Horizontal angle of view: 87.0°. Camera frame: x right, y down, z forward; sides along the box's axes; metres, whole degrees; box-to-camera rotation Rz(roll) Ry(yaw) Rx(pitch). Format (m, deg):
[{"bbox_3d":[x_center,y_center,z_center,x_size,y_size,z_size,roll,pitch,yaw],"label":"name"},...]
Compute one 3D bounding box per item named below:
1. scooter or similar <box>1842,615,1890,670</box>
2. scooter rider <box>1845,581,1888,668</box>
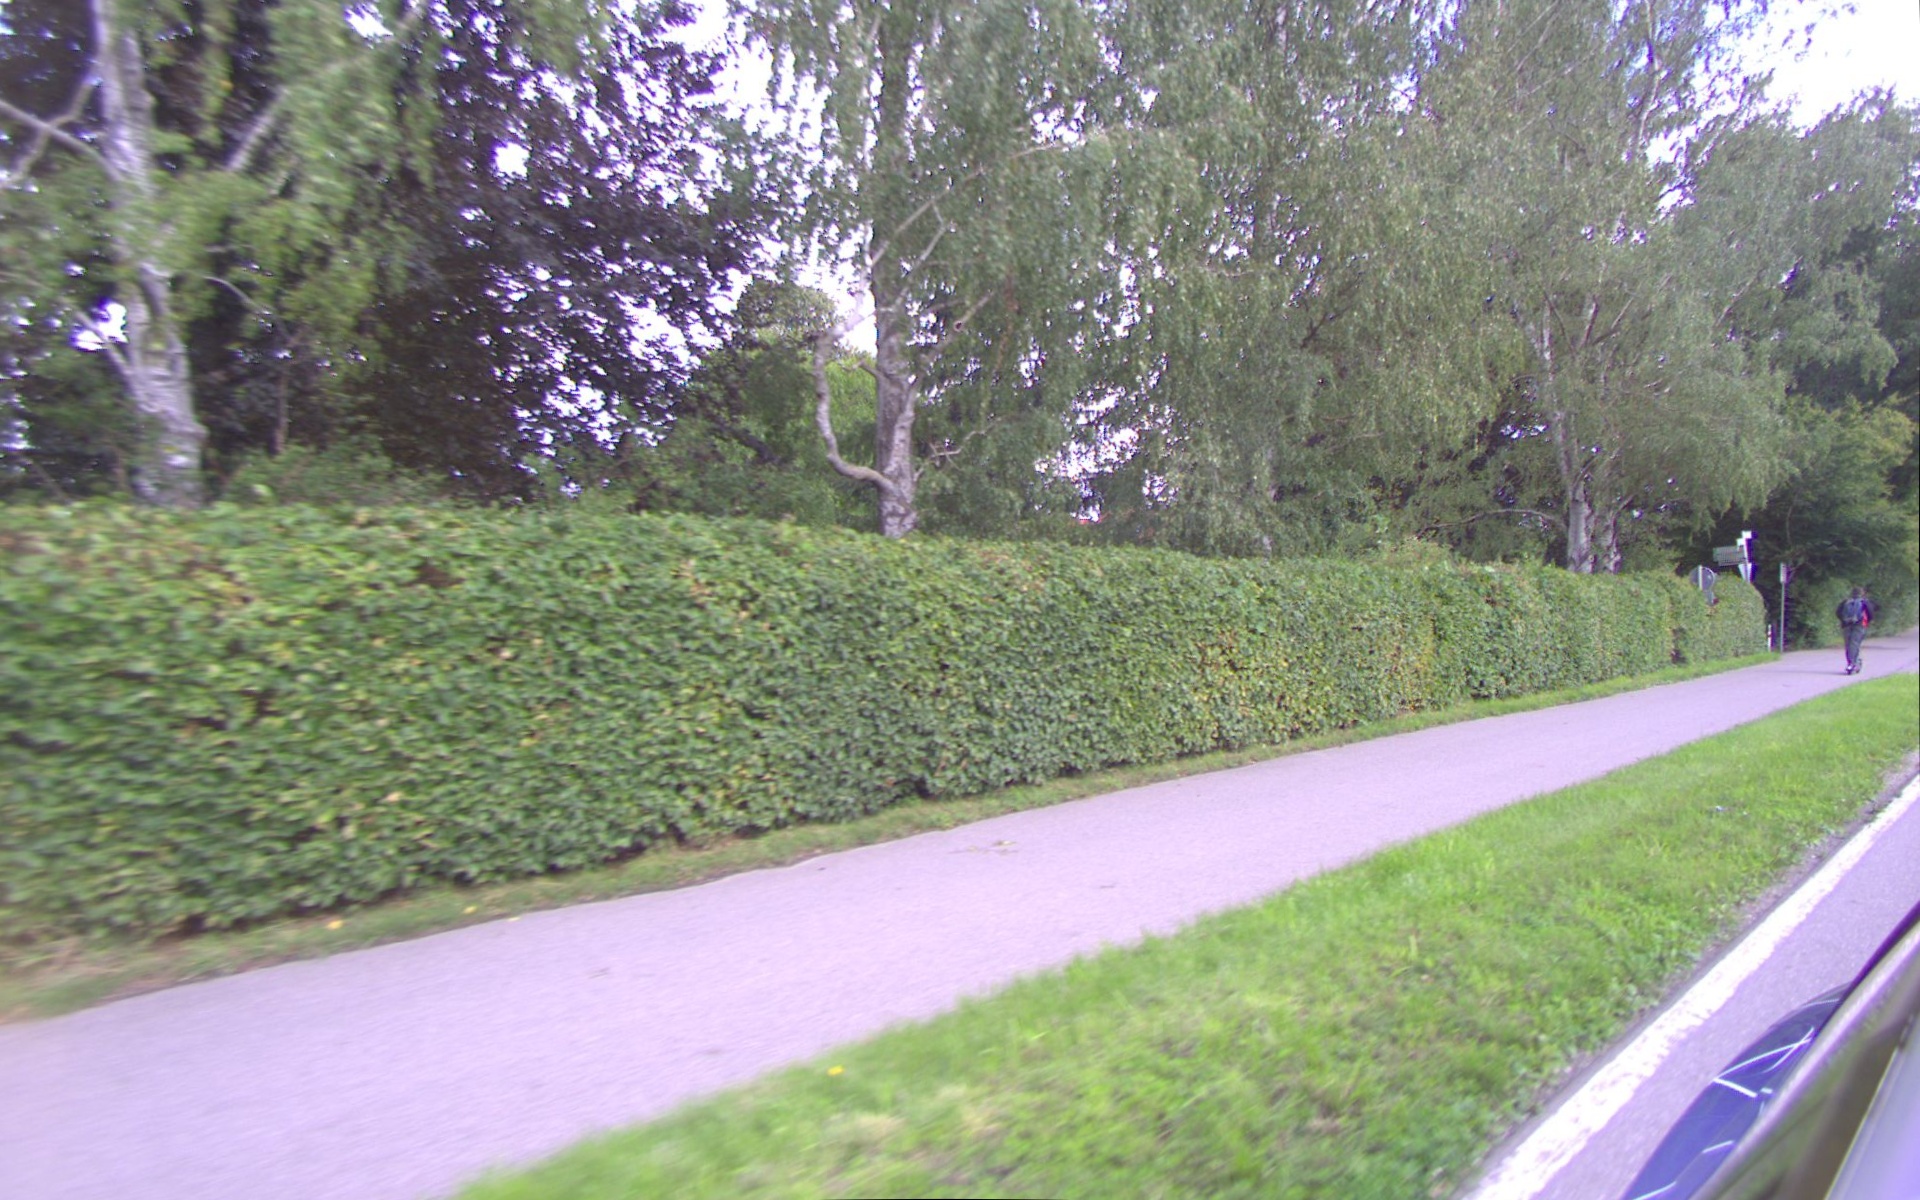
[{"bbox_3d":[21.067,0.965,23.521,1.666,1.179,0.649,0,0,-41],"label":"scooter or similar"},{"bbox_3d":[21.050,0.549,23.499,0.772,1.990,0.643,0,0,-41],"label":"scooter rider"}]
